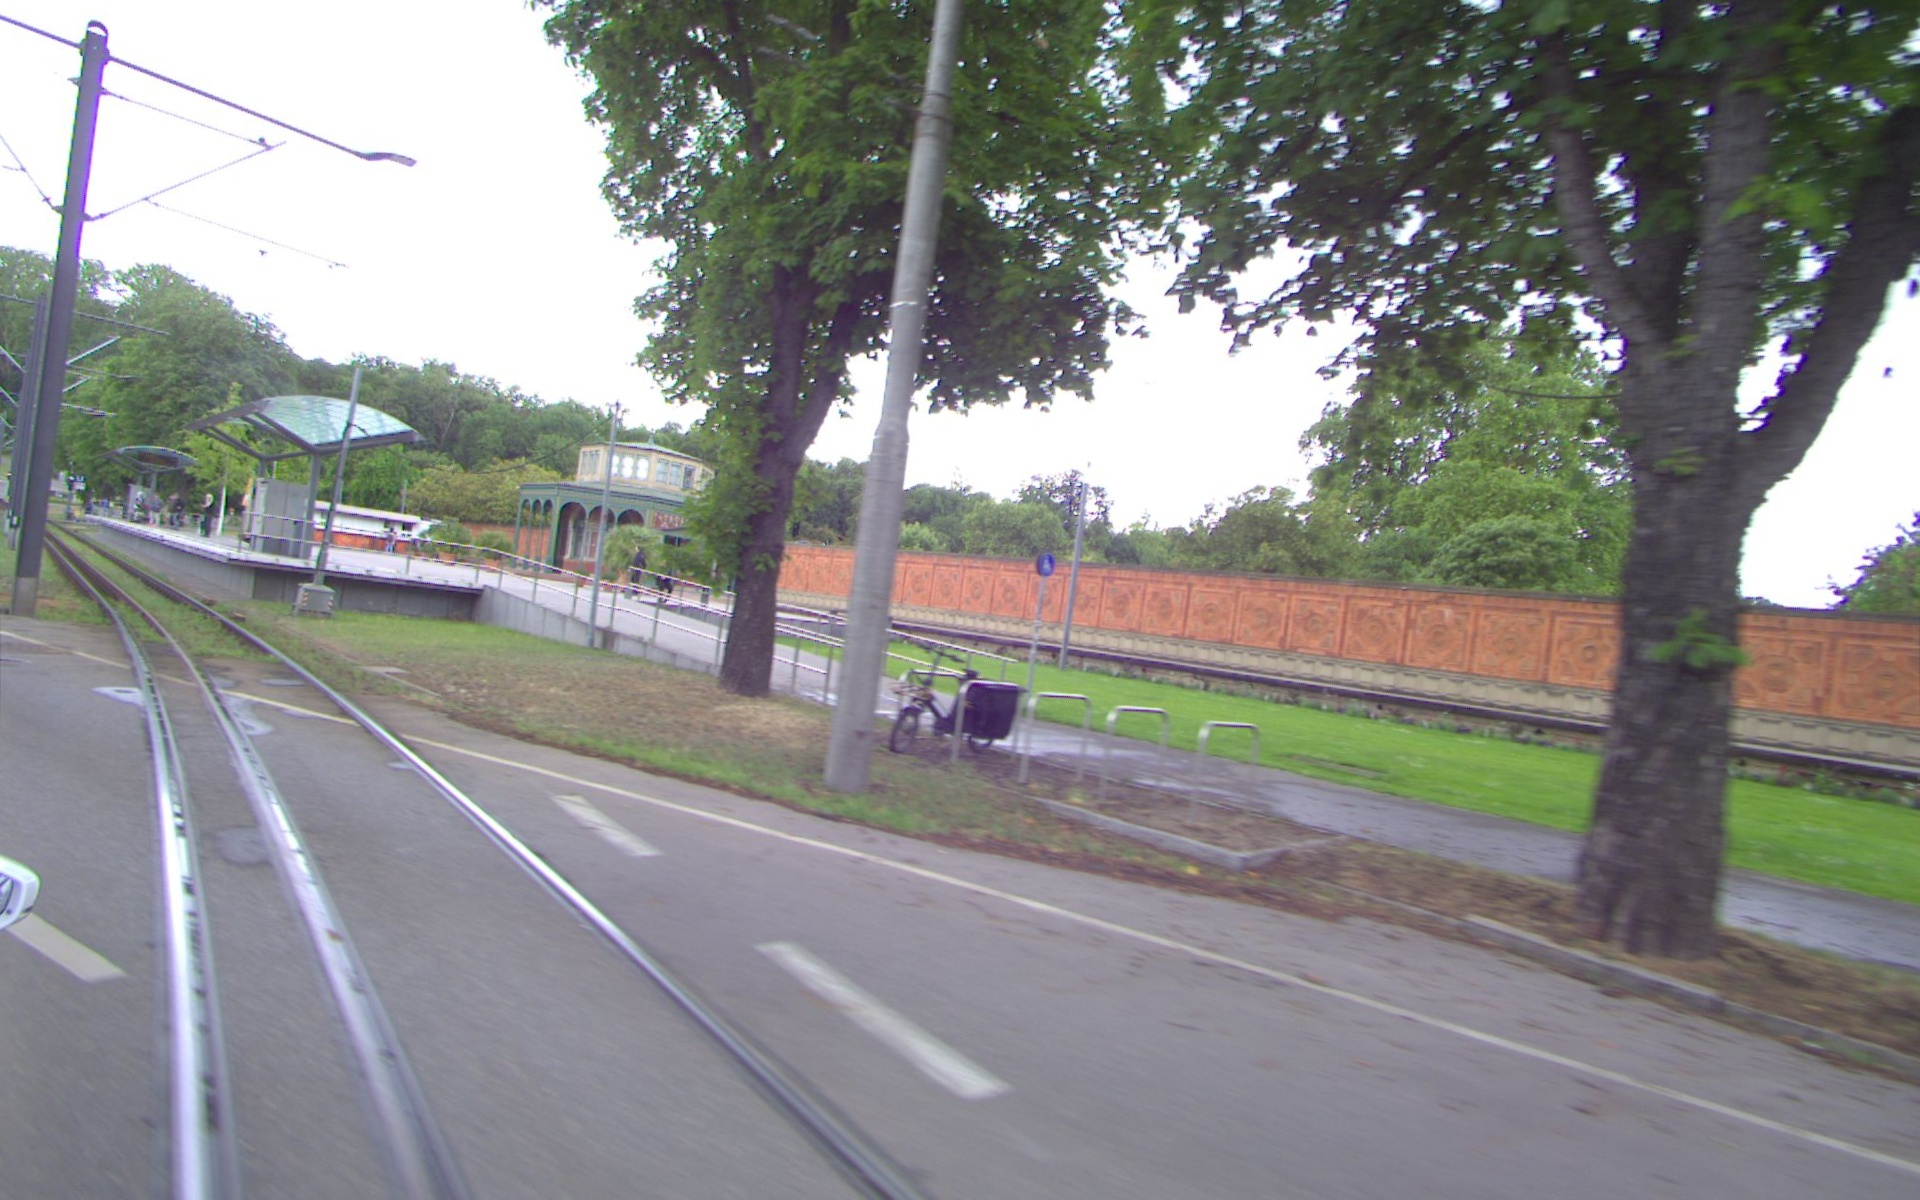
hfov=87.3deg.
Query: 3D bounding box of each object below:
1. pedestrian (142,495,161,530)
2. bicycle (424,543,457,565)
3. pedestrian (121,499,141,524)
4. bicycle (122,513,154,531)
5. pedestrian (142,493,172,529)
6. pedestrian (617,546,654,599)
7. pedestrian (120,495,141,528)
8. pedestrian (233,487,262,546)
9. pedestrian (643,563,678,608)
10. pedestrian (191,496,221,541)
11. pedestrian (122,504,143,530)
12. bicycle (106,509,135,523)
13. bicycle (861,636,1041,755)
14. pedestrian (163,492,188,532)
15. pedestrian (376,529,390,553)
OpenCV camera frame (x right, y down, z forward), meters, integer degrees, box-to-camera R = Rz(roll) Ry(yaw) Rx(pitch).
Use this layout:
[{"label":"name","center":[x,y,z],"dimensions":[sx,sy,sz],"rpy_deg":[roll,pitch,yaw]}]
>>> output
[{"label":"pedestrian","center":[-41.011,-4.435,51.027],"dimensions":[0.523,1.638,0.667],"rpy_deg":[10,-3,-43]},{"label":"bicycle","center":[-31.571,-2.789,61.161],"dimensions":[1.683,1.073,0.565],"rpy_deg":[8,-2,15]},{"label":"pedestrian","center":[-48.648,-5.215,59.017],"dimensions":[0.955,1.338,0.673],"rpy_deg":[7,-3,45]},{"label":"bicycle","center":[-62.240,-5.889,76.203],"dimensions":[1.761,1.045,0.477],"rpy_deg":[12,-4,-44]},{"label":"pedestrian","center":[-41.716,-4.608,52.259],"dimensions":[0.750,1.695,0.861],"rpy_deg":[7,-2,36]},{"label":"pedestrian","center":[-12.462,-1.054,38.637],"dimensions":[0.934,1.858,0.550],"rpy_deg":[8,-2,8]},{"label":"pedestrian","center":[-45.036,-4.790,54.618],"dimensions":[0.666,1.695,0.543],"rpy_deg":[7,-3,43]},{"label":"pedestrian","center":[-21.552,-2.521,30.439],"dimensions":[0.483,1.678,0.622],"rpy_deg":[10,-2,-35]},{"label":"pedestrian","center":[-8.853,-0.423,29.777],"dimensions":[0.659,1.214,0.548],"rpy_deg":[7,-3,39]},{"label":"pedestrian","center":[-30.715,-3.339,40.980],"dimensions":[0.632,1.706,0.855],"rpy_deg":[11,-3,-44]},{"label":"pedestrian","center":[-42.644,-4.287,51.846],"dimensions":[0.656,1.204,0.667],"rpy_deg":[11,-3,-43]},{"label":"bicycle","center":[-75.969,-7.586,91.002],"dimensions":[1.907,0.906,0.524],"rpy_deg":[8,0,-44]},{"label":"bicycle","center":[-0.071,1.137,11.735],"dimensions":[1.984,1.171,0.733],"rpy_deg":[9,-1,-40]},{"label":"pedestrian","center":[-38.583,-4.322,49.472],"dimensions":[0.631,1.858,0.939],"rpy_deg":[10,-3,-43]},{"label":"pedestrian","center":[-38.626,-3.966,67.350],"dimensions":[0.484,1.503,0.454],"rpy_deg":[10,-2,-41]}]
